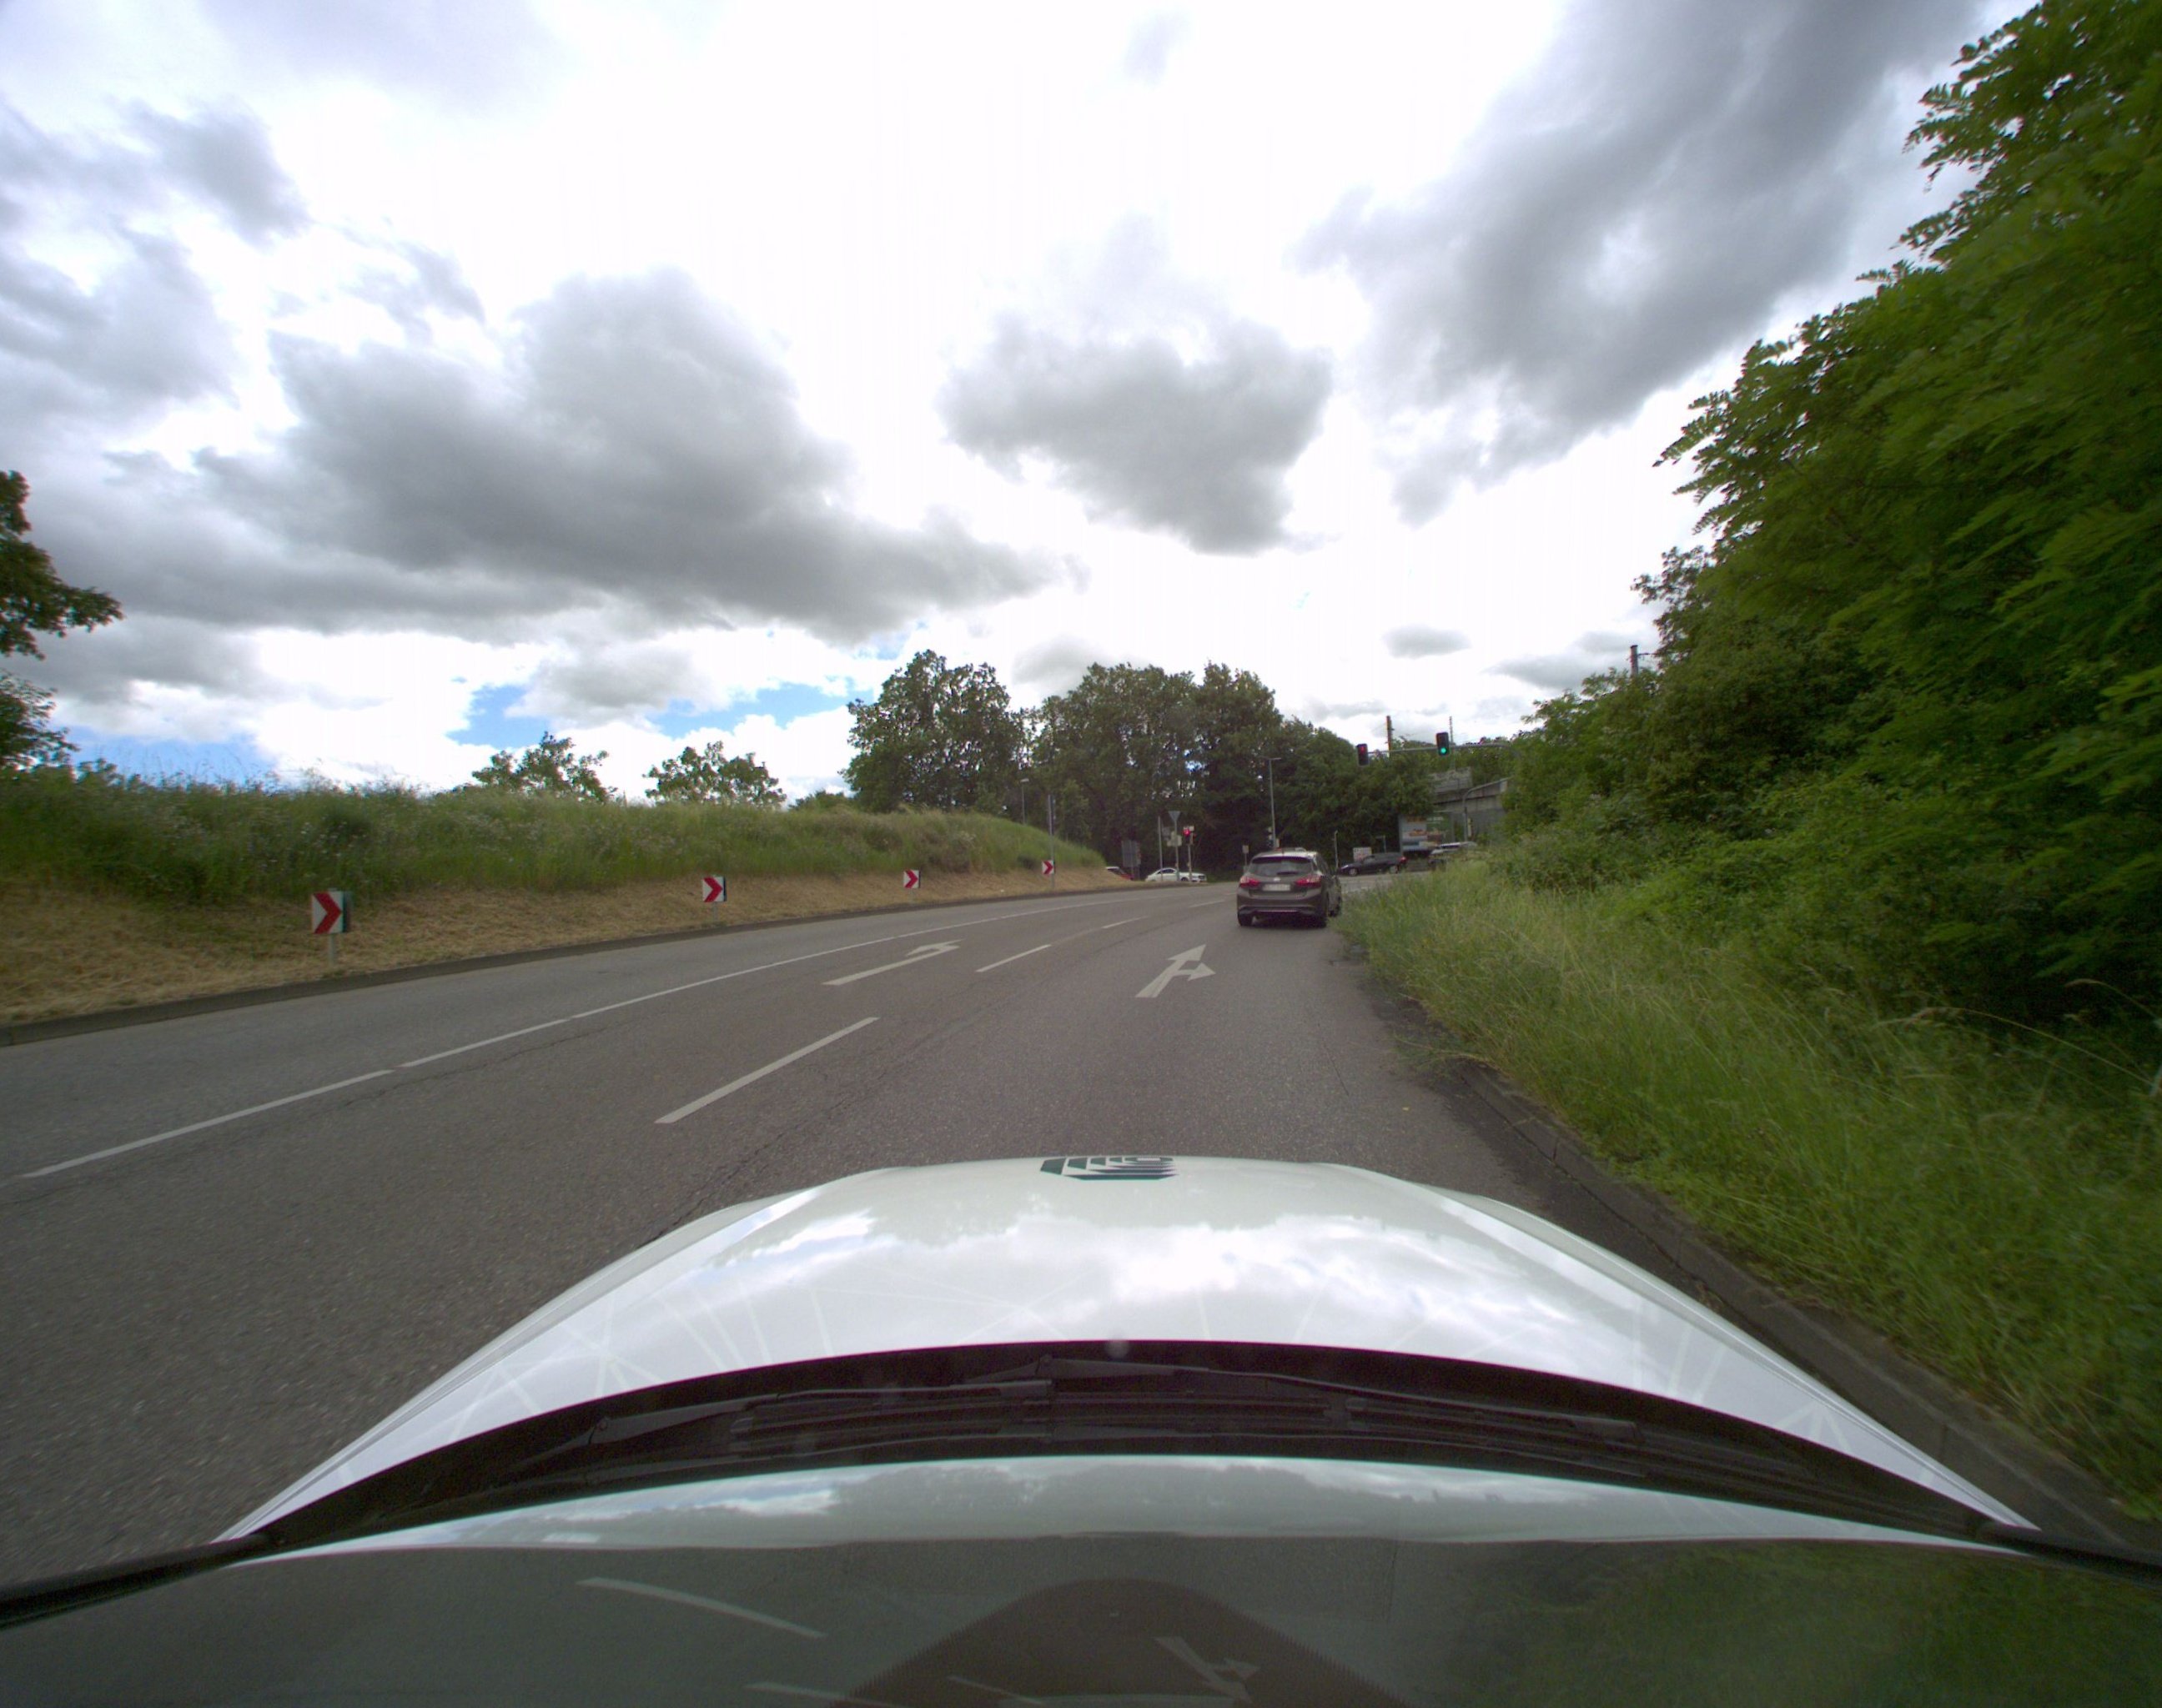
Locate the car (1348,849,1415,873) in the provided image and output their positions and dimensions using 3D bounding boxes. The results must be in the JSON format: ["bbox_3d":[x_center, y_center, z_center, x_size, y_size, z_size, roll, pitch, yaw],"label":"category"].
[{"bbox_3d":[20.140,0.501,54.738,3.999,1.451,1.861,-2,-2,11],"label":"car"}]

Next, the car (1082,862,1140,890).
[{"bbox_3d":[2.252,1.681,61.269,3.987,1.813,1.866,-6,-4,43],"label":"car"}]

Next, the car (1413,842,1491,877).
[{"bbox_3d":[16.479,0.190,36.115,1.882,1.466,4.024,1,1,44],"label":"car"}]

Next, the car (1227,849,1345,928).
[{"bbox_3d":[4.531,0.642,17.554,1.828,1.493,4.022,0,0,24],"label":"car"}]

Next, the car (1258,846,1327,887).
[{"bbox_3d":[8.554,0.474,32.802,1.560,1.557,3.036,0,0,39],"label":"car"}]

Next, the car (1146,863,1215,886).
[{"bbox_3d":[6.832,1.447,56.437,4.363,1.339,2.012,-5,-5,43],"label":"car"}]
